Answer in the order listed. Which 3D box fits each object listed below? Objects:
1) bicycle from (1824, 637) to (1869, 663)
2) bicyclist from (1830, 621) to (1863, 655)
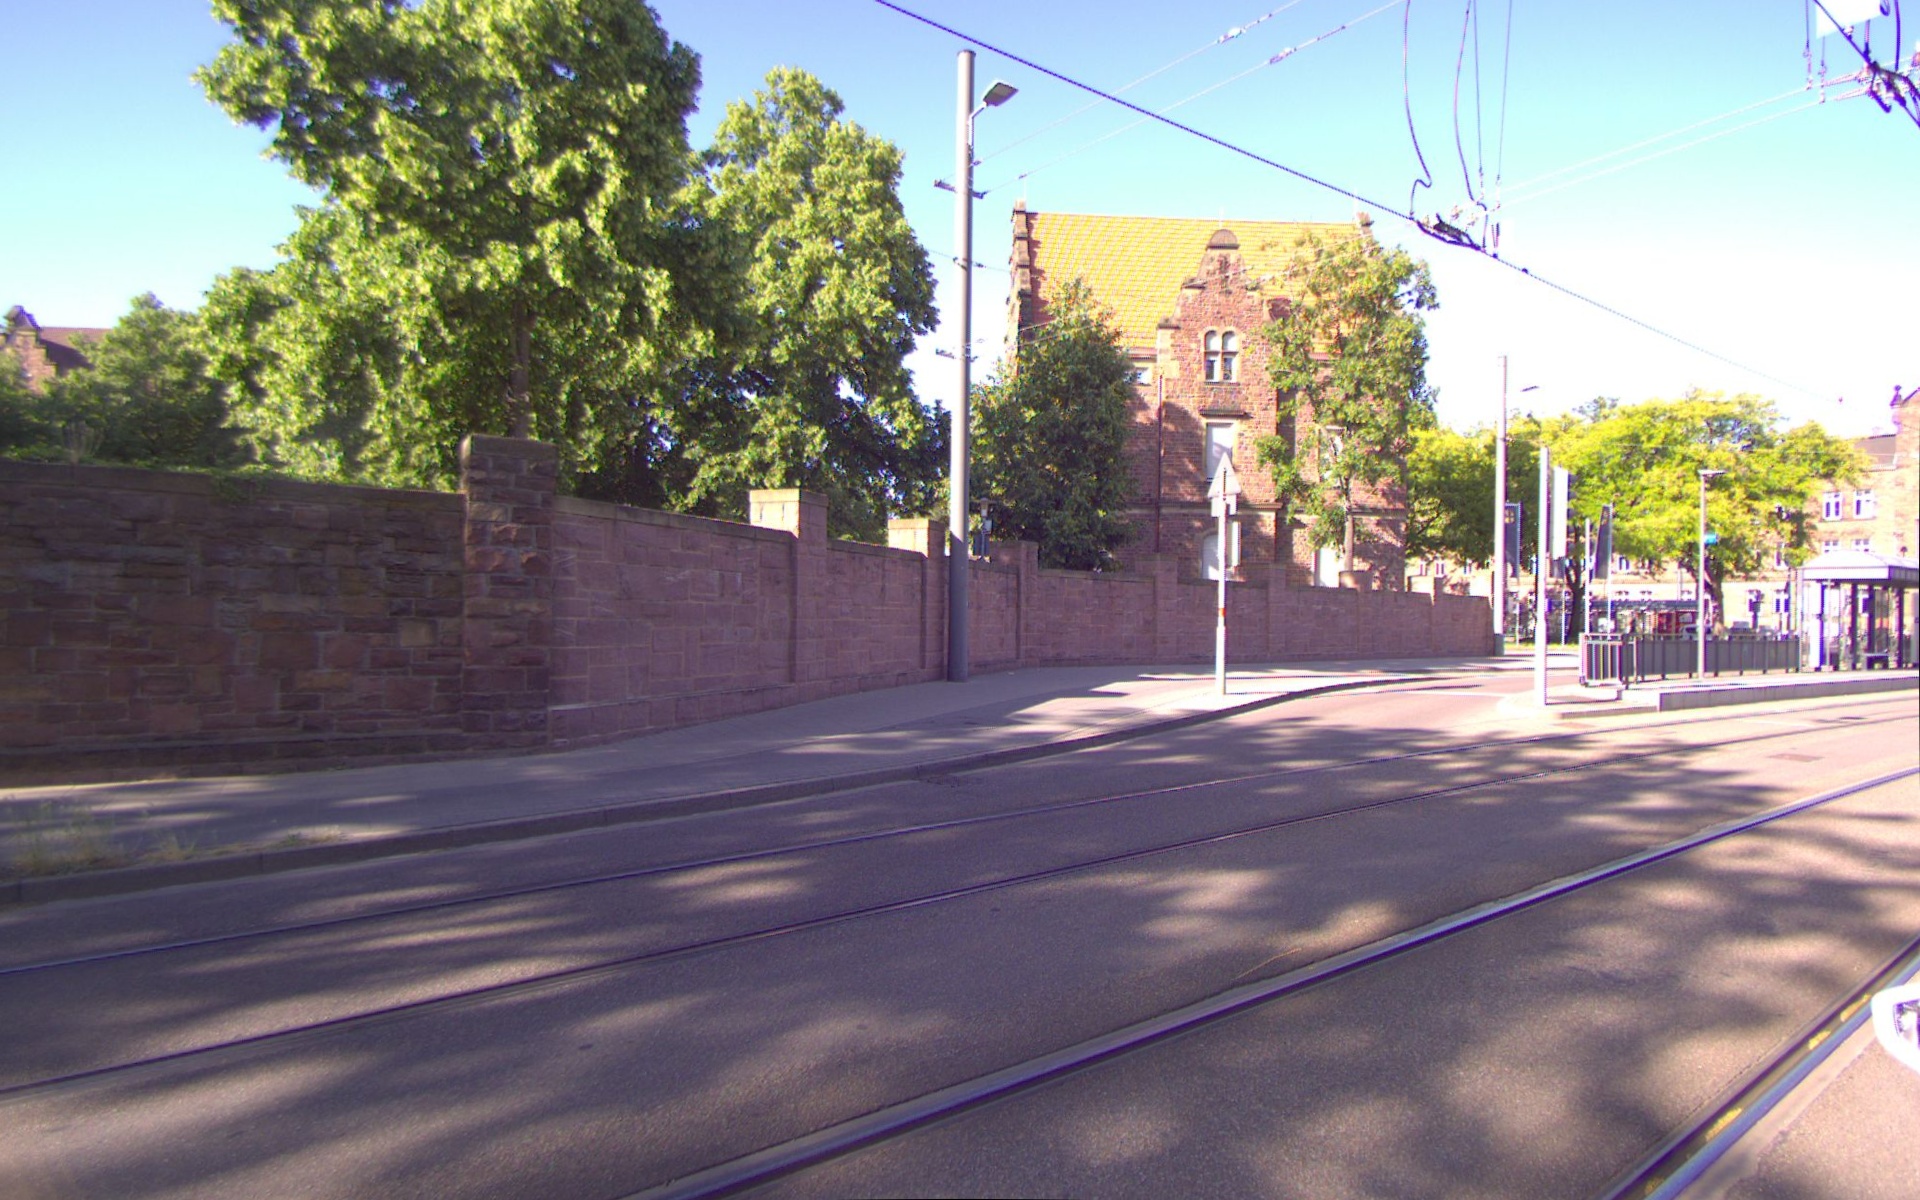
[{"bbox_3d":[38.759,2.184,43.917,2.035,1.103,0.682,1,0,-24],"label":"bicycle"},{"bbox_3d":[38.752,1.665,43.910,1.136,1.478,0.651,1,0,-24],"label":"bicyclist"}]
